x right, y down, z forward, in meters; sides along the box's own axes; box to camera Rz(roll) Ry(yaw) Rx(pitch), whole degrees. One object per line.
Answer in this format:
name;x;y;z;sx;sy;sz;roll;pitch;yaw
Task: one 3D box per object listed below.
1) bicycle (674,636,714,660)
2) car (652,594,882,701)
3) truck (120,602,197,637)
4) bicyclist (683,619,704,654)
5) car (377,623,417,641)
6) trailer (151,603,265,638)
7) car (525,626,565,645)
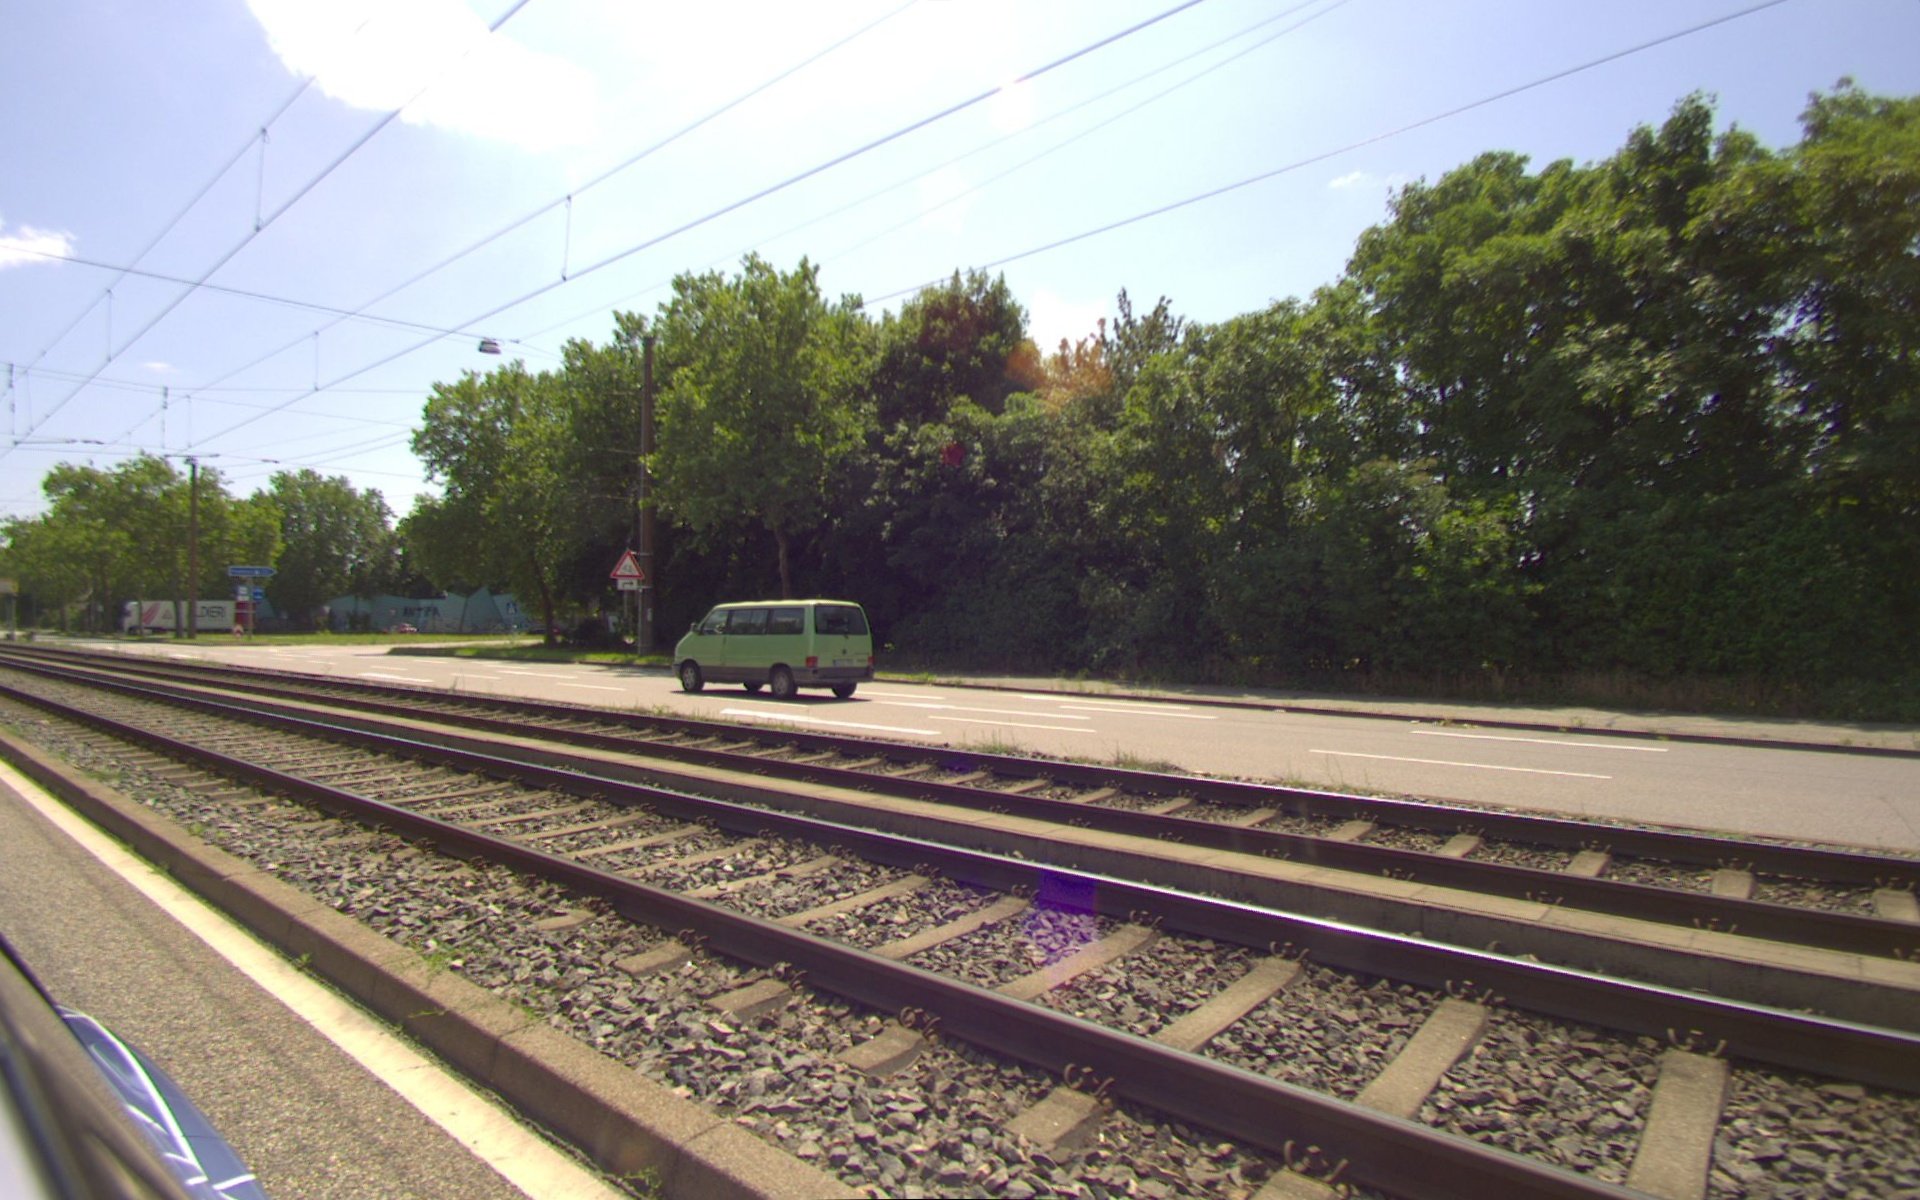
bicycle;-10.635;1.895;40.409;0.579;0.825;2.070;-2;2;-44
car;-4.061;0.896;20.688;5.176;1.940;1.792;0;-2;41
truck;-88.809;2.197;112.138;6.699;3.730;3.401;0;-2;16
bicyclist;-10.626;1.453;40.390;0.562;1.378;0.632;-1;1;-45
car;-57.056;3.233;102.561;3.367;1.805;1.557;0;-2;15
trailer;-81.868;2.209;110.143;11.998;3.683;3.371;0;-2;16
car;-40.190;3.452;97.974;3.367;1.805;1.557;0;-2;15
